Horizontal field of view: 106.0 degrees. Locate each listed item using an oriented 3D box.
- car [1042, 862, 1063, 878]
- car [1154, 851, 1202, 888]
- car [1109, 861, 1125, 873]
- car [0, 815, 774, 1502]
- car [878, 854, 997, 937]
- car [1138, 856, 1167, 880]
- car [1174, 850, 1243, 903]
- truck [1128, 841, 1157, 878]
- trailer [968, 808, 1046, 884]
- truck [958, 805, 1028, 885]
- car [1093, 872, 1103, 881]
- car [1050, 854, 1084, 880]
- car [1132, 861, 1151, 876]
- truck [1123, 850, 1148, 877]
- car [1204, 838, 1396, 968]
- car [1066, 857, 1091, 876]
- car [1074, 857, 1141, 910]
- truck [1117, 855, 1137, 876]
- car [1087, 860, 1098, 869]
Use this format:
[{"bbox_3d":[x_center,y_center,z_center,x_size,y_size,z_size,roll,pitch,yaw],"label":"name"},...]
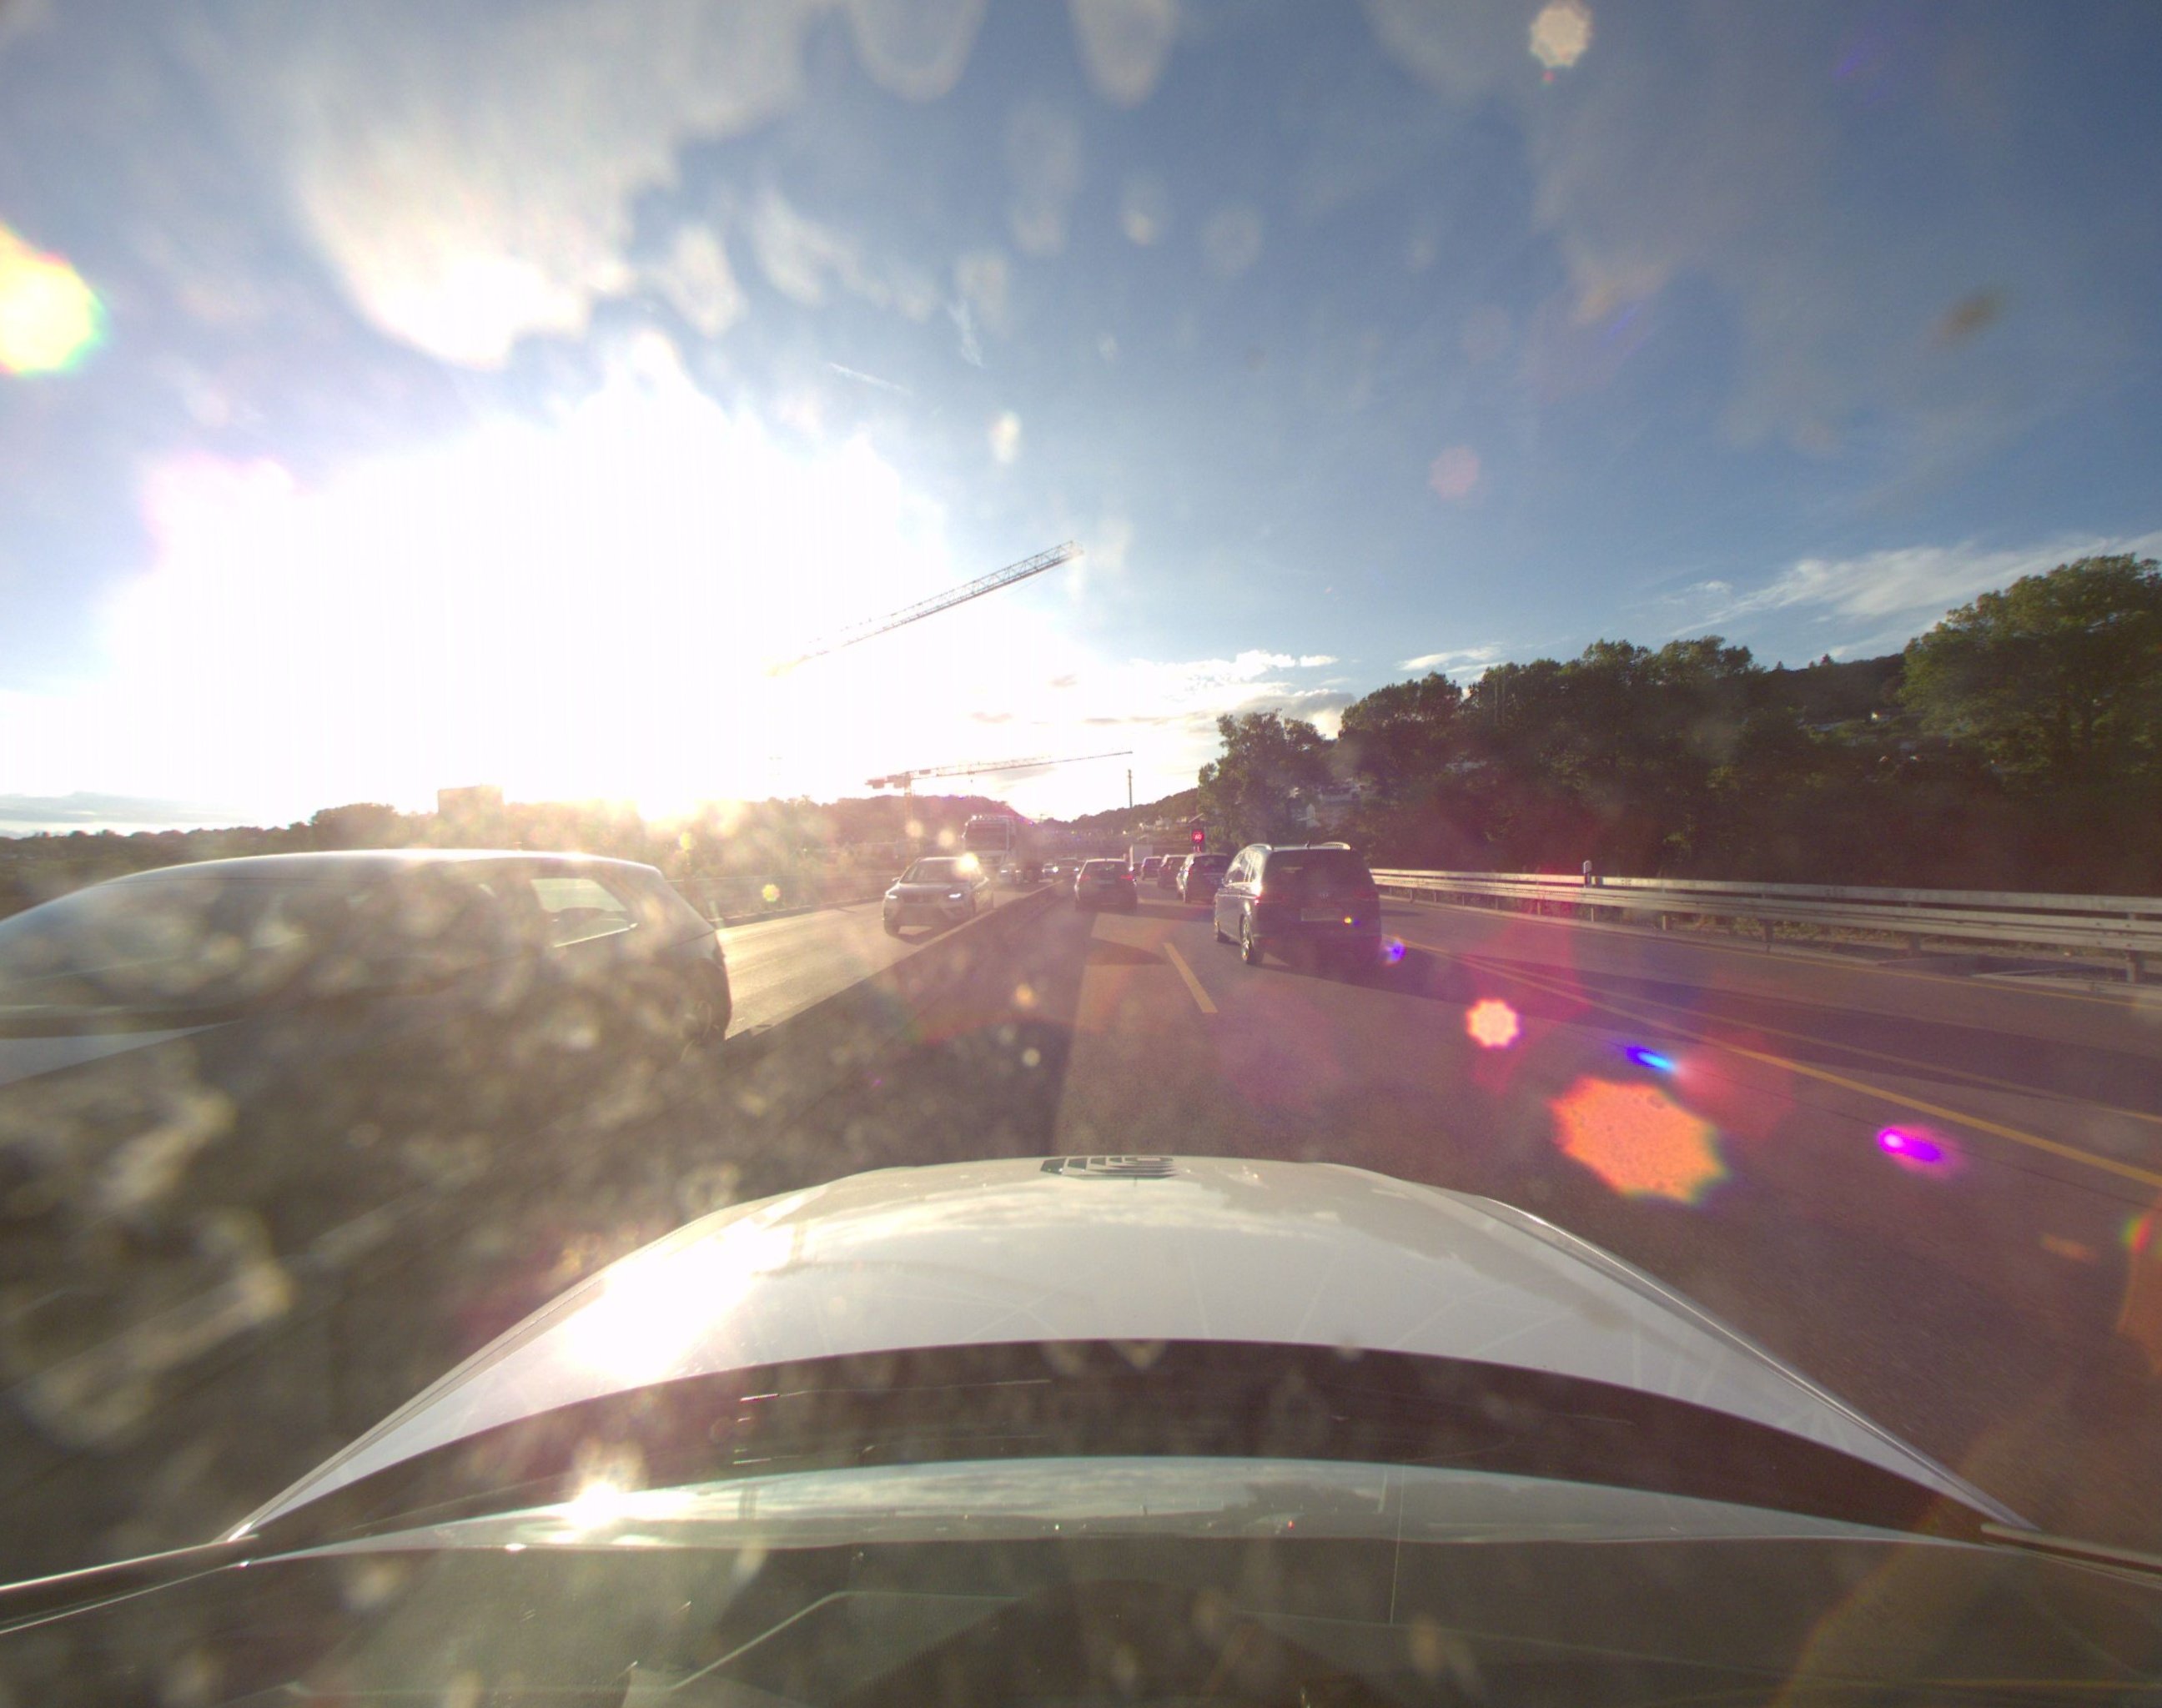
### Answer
[{"bbox_3d":[-2.814,1.588,80.749,1.694,1.446,4.002,-2,-1,2],"label":"car"},{"bbox_3d":[4.579,0.757,38.968,1.868,1.599,4.968,-2,-1,3],"label":"car"},{"bbox_3d":[4.409,1.594,100.578,1.856,1.420,4.002,0,-1,2],"label":"car"},{"bbox_3d":[-3.308,0.727,3.881,1.736,1.583,4.707,-1,0,2],"label":"car"},{"bbox_3d":[-2.908,0.824,17.361,1.761,1.535,4.000,-1,-1,0],"label":"car"},{"bbox_3d":[5.102,0.999,58.443,1.808,1.632,4.412,-1,-1,2],"label":"car"},{"bbox_3d":[4.094,0.701,26.697,1.767,1.586,4.137,-1,-1,2],"label":"car"},{"bbox_3d":[7.940,0.532,106.983,3.372,4.498,15.278,-1,1,3],"label":"truck"},{"bbox_3d":[-4.324,-0.363,51.480,2.802,4.051,14.031,-2,-1,3],"label":"trailer"},{"bbox_3d":[-4.706,-0.434,44.658,2.802,4.048,5.677,-2,-1,3],"label":"truck"},{"bbox_3d":[3.078,4.027,146.657,1.798,1.512,4.001,-1,-1,2],"label":"car"},{"bbox_3d":[-0.895,0.860,55.546,1.985,1.619,4.608,-2,-1,3],"label":"car"},{"bbox_3d":[6.226,1.514,84.431,1.764,1.553,4.000,0,-1,0],"label":"car"},{"bbox_3d":[9.772,1.610,147.531,3.875,4.498,15.274,-1,0,2],"label":"truck"},{"bbox_3d":[3.085,0.653,12.448,1.806,1.615,4.526,0,-1,1],"label":"car"},{"bbox_3d":[-0.202,1.106,74.298,1.986,1.645,4.514,-1,-1,2],"label":"car"},{"bbox_3d":[0.736,0.831,23.928,1.764,1.390,4.000,-1,-1,0],"label":"car"},{"bbox_3d":[10.610,2.575,189.637,3.878,4.498,13.845,-1,0,0],"label":"truck"},{"bbox_3d":[2.392,2.261,167.666,1.986,1.759,4.661,-1,-1,2],"label":"car"}]
